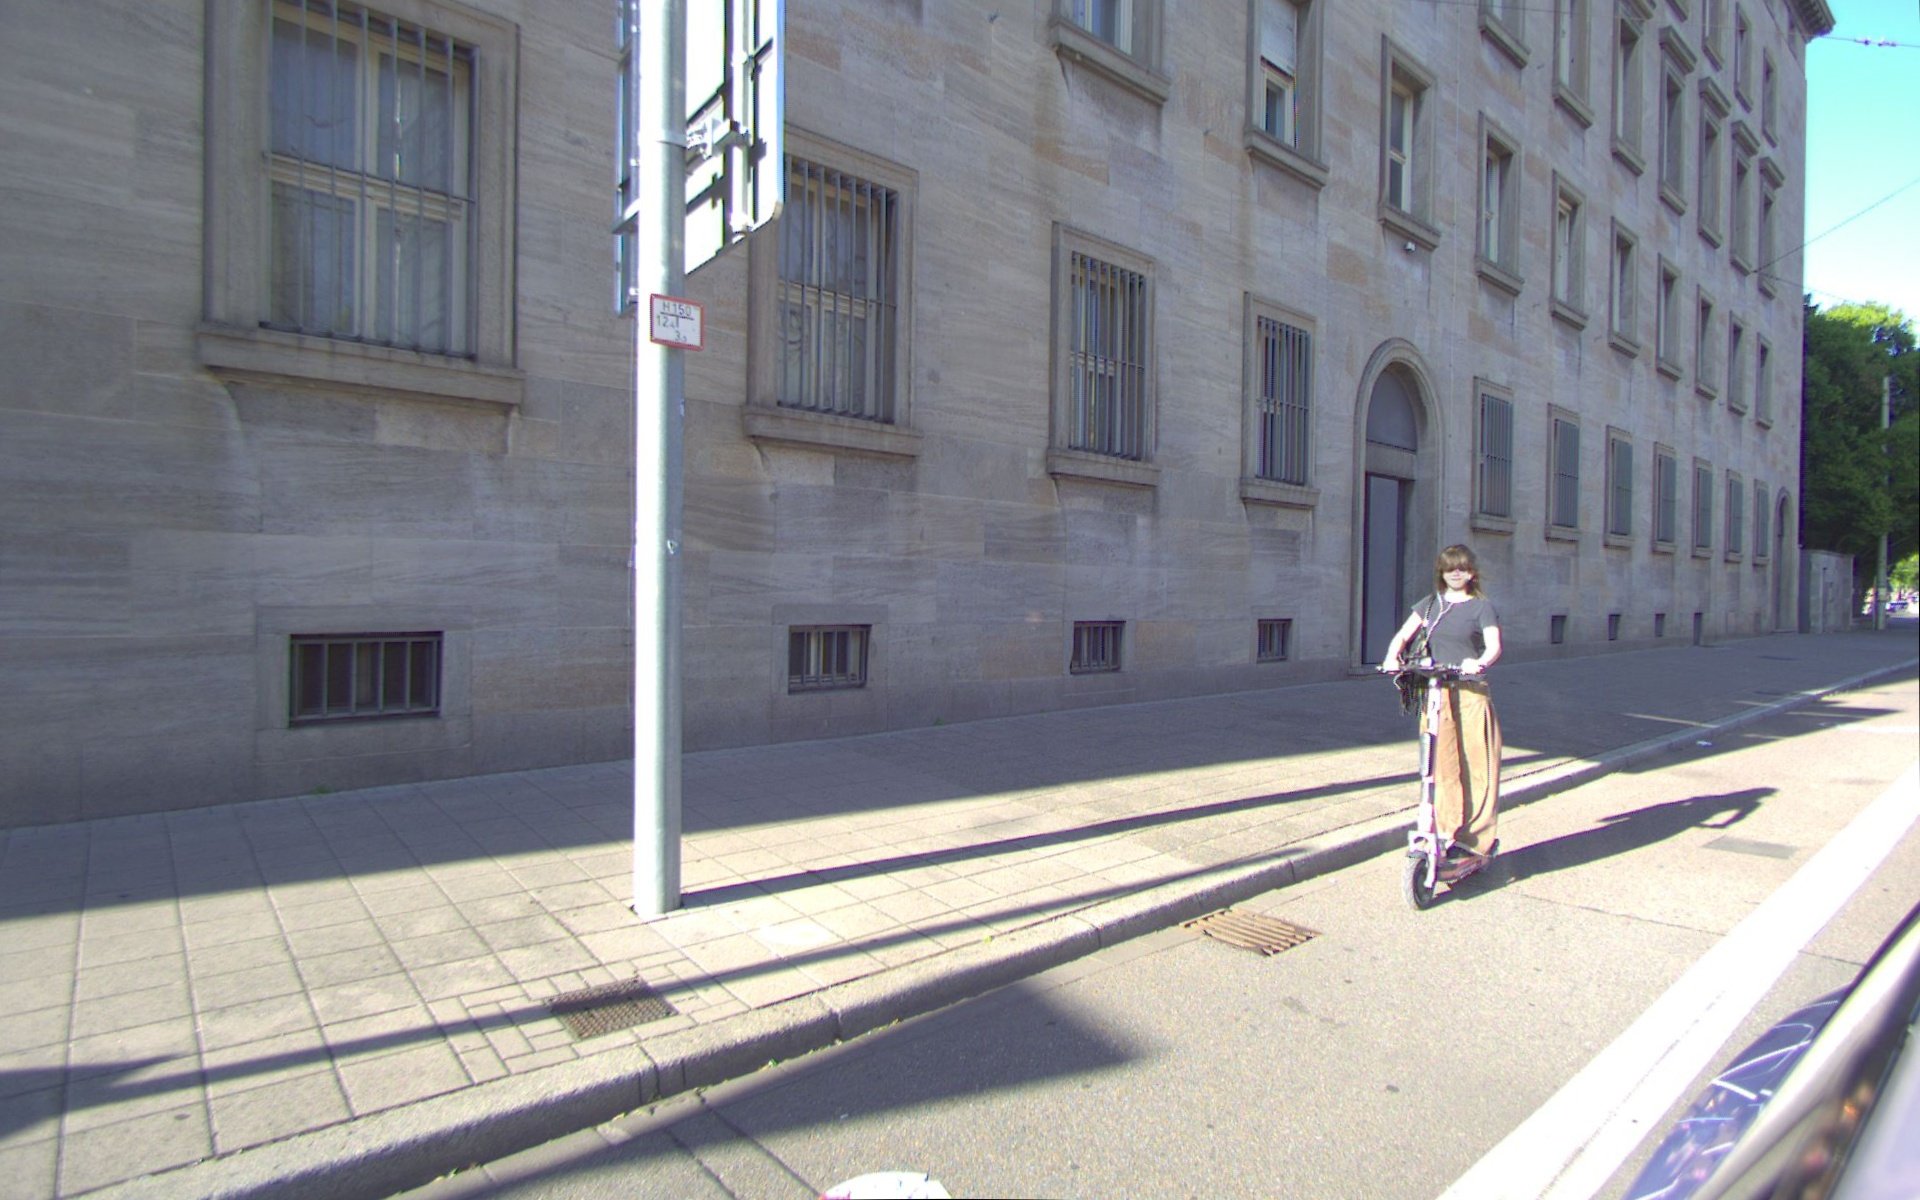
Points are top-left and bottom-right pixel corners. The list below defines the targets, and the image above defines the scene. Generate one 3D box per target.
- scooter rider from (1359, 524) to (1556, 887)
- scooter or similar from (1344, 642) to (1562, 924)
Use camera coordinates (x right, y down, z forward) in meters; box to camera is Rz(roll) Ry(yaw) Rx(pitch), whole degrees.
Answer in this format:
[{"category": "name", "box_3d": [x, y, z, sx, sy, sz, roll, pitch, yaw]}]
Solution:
[{"category": "scooter rider", "box_3d": [2.532, 0.483, 5.173, 0.547, 1.692, 0.730, 0, 1, -41]}, {"category": "scooter or similar", "box_3d": [2.546, 0.847, 5.177, 1.305, 1.200, 0.535, 0, 1, -42]}]
